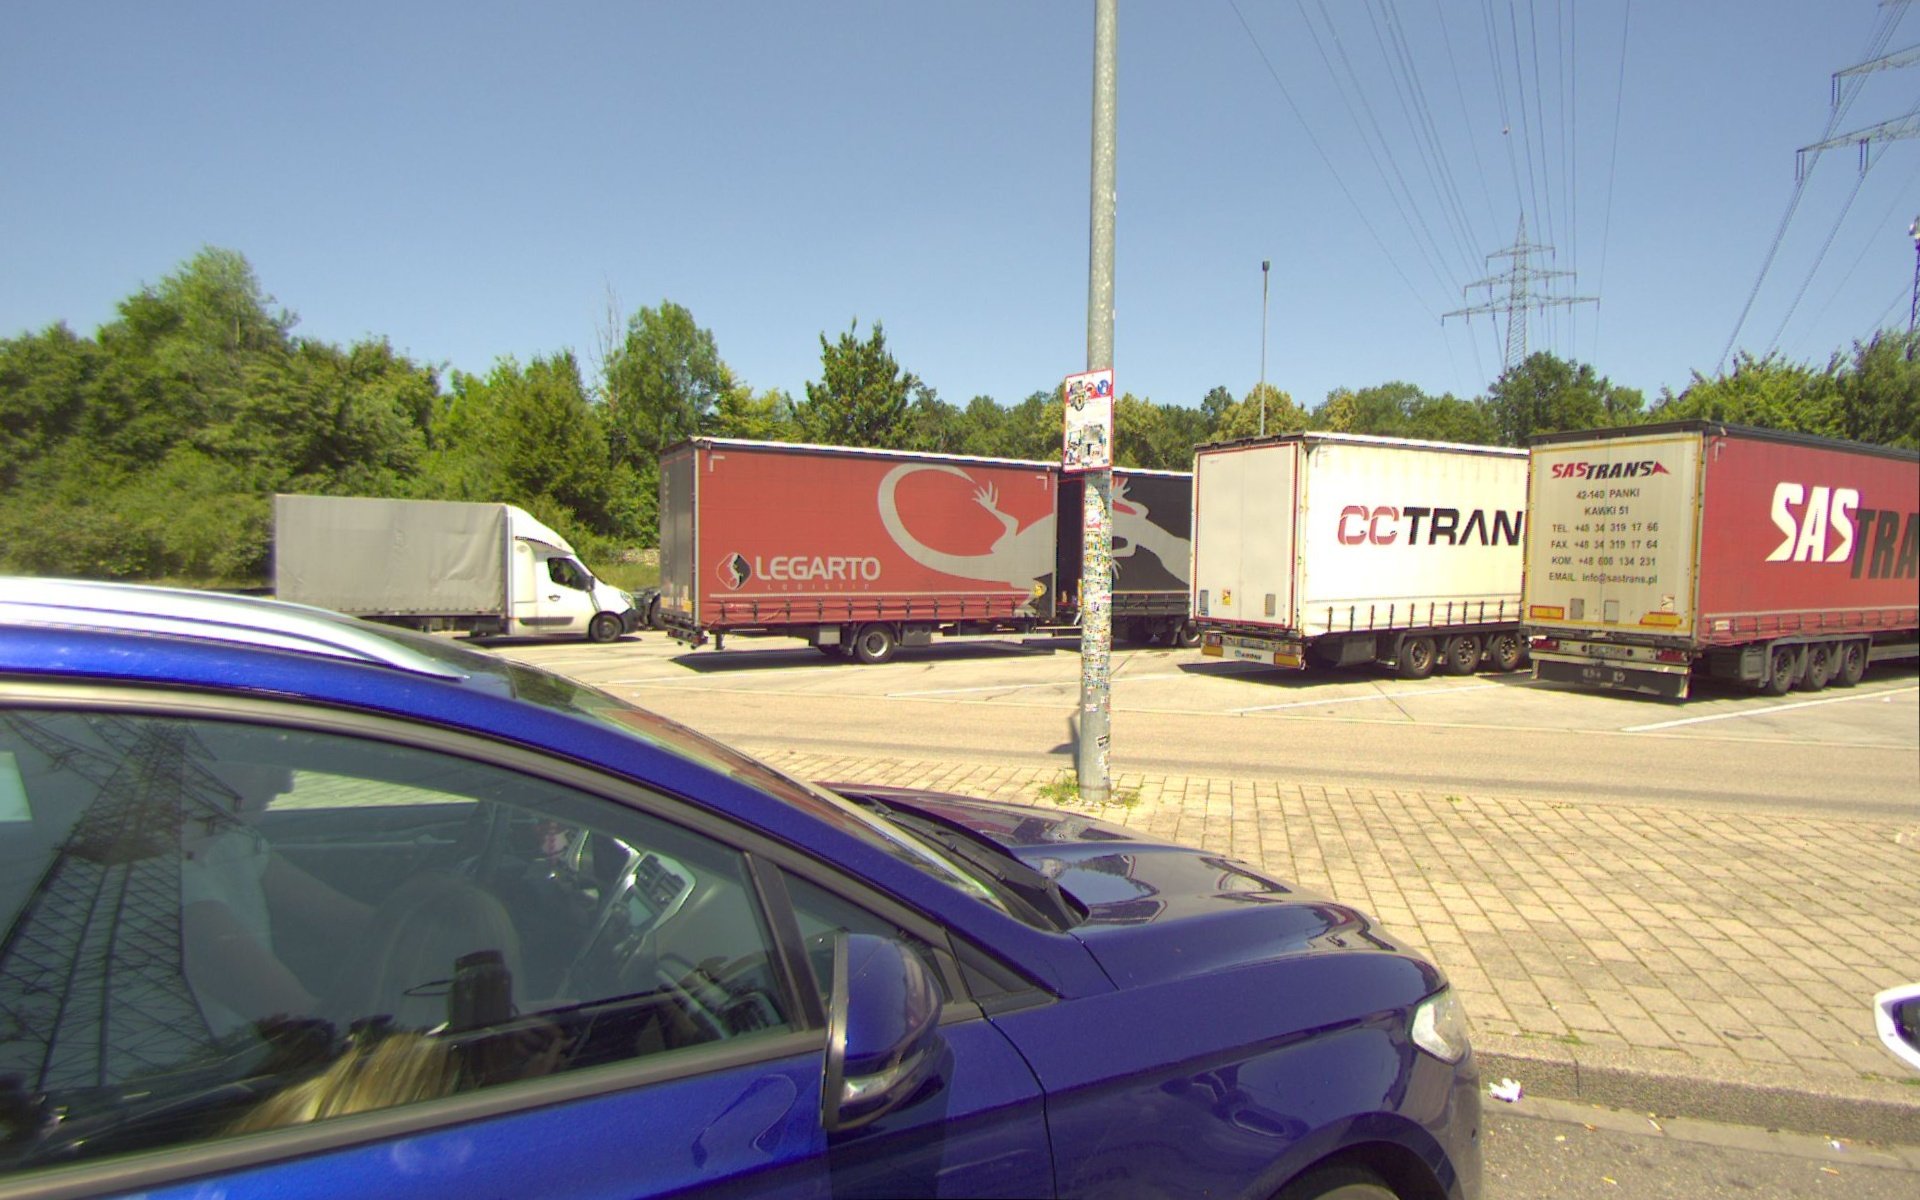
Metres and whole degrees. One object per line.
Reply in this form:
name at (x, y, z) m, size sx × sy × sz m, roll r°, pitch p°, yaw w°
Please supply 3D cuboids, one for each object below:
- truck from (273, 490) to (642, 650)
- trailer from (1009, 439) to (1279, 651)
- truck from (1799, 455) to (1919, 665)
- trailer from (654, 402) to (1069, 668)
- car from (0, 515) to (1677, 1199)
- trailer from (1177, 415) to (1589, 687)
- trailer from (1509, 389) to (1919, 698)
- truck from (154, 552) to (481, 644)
truck at (-11.111, -0.585, 22.761) m, size 7.171 × 3.194 × 2.160 m, roll 0°, pitch 1°, yaw -30°
trailer at (4.452, -1.164, 24.040) m, size 6.076 × 4.504 × 2.665 m, roll 0°, pitch 0°, yaw -30°
truck at (21.437, -0.786, 22.065) m, size 5.824 × 4.189 × 2.792 m, roll 0°, pitch 0°, yaw -30°
trailer at (-1.807, -1.093, 20.230) m, size 7.963 × 4.510 × 2.648 m, roll 0°, pitch 0°, yaw -31°
car at (-1.004, 0.656, 1.481) m, size 4.362 × 1.437 × 1.731 m, roll 1°, pitch 0°, yaw -30°
trailer at (8.111, -0.760, 18.836) m, size 8.189 × 4.208 × 2.741 m, roll 0°, pitch 1°, yaw -30°
trailer at (15.254, -0.756, 18.430) m, size 13.046 × 4.276 × 2.786 m, roll 0°, pitch 0°, yaw -31°
truck at (-15.456, -0.032, 24.685) m, size 6.538 × 2.040 × 1.984 m, roll 0°, pitch 0°, yaw -30°
